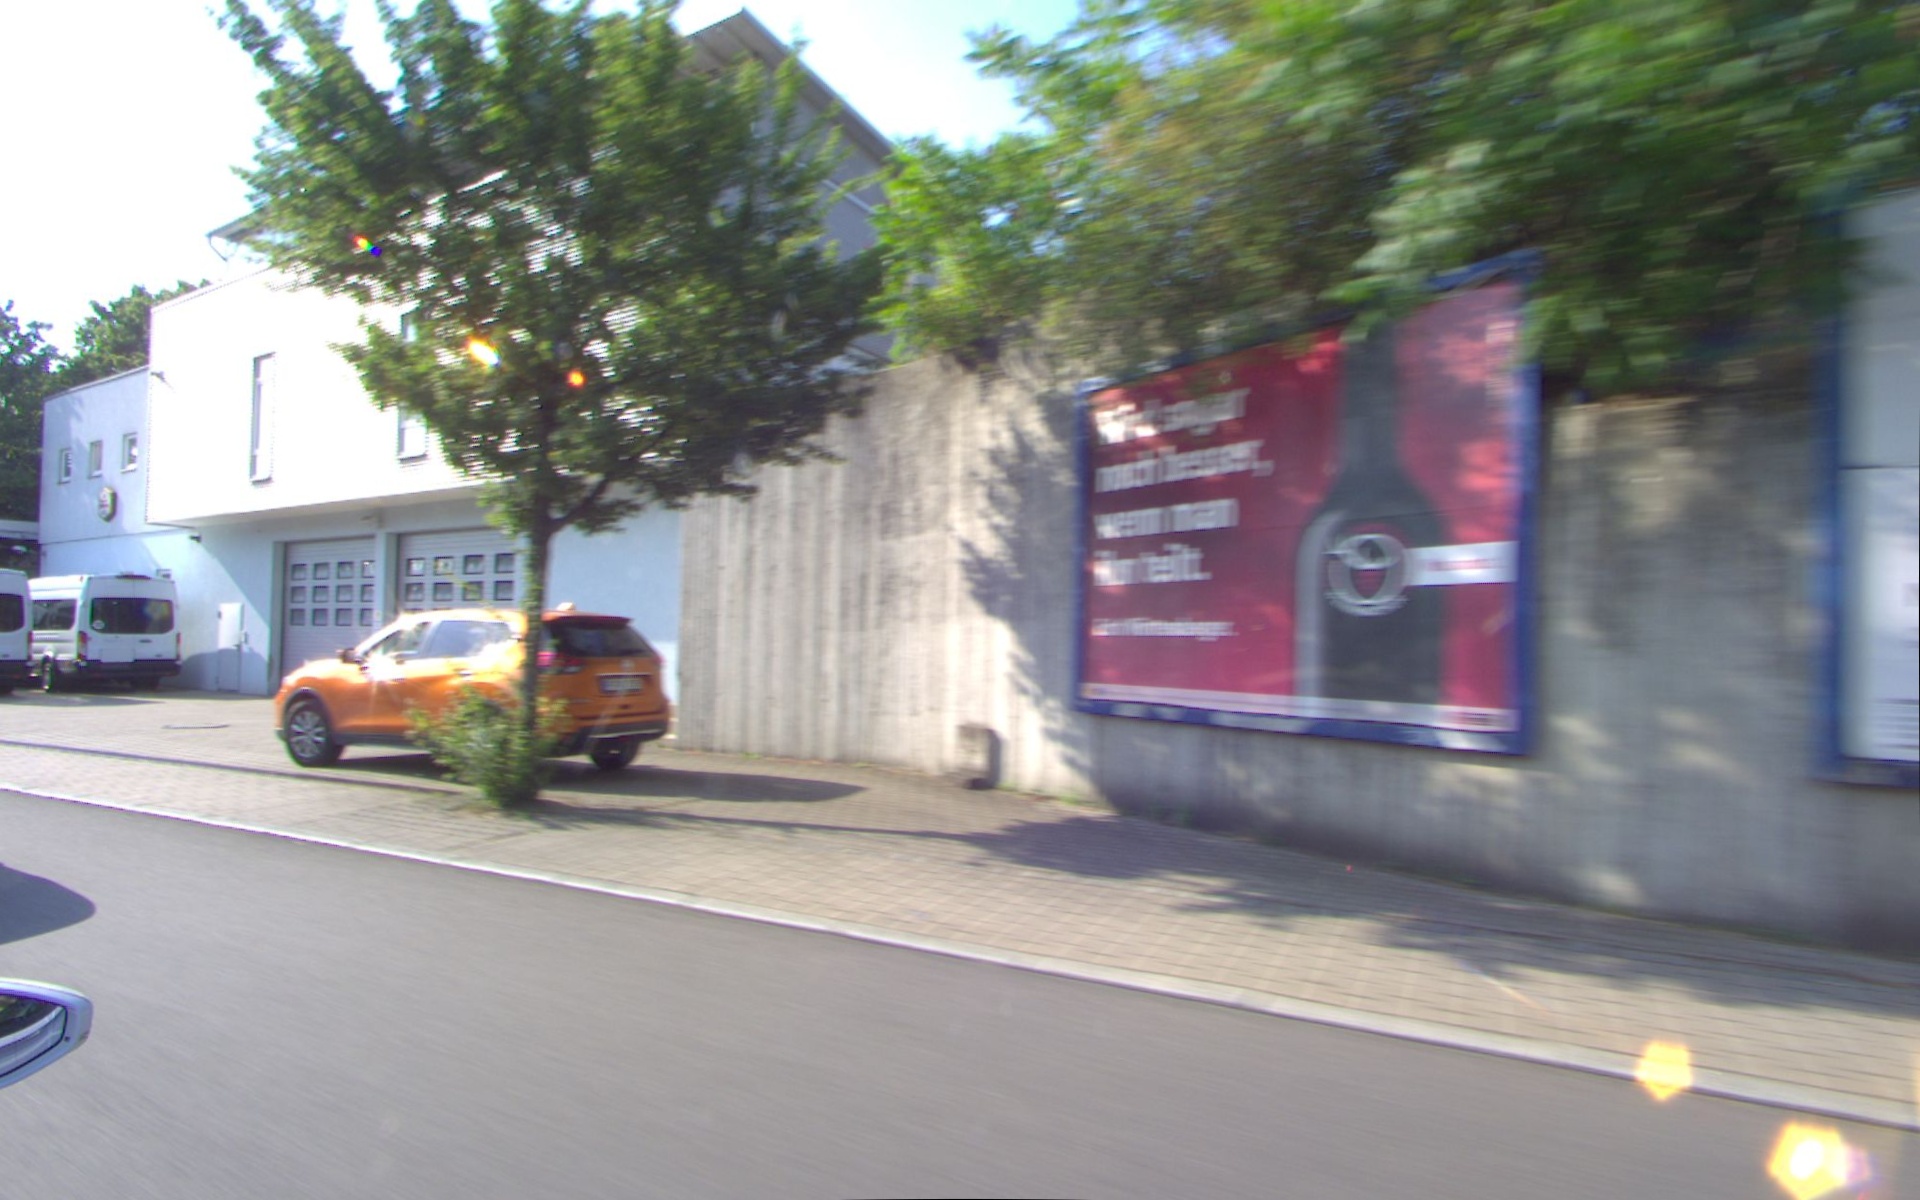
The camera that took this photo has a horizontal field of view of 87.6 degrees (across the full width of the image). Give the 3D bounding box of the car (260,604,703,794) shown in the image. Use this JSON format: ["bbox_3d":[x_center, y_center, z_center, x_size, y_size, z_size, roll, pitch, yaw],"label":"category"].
[{"bbox_3d":[-5.109,0.921,10.641,4.464,1.670,1.835,0,-2,25],"label":"car"}]

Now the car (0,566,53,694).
[{"bbox_3d":[-23.197,0.619,22.683,6.506,2.715,2.147,0,-2,31],"label":"car"}]

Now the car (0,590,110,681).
[{"bbox_3d":[-26.474,0.901,26.237,2.013,2.393,6.038,0,-2,30],"label":"car"}]

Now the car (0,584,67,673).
[{"bbox_3d":[-29.049,0.742,27.769,2.013,2.548,6.038,0,-2,30],"label":"car"}]

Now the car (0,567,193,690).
[{"bbox_3d":[-21.861,0.673,25.002,6.348,2.756,2.109,0,-2,31],"label":"car"}]
